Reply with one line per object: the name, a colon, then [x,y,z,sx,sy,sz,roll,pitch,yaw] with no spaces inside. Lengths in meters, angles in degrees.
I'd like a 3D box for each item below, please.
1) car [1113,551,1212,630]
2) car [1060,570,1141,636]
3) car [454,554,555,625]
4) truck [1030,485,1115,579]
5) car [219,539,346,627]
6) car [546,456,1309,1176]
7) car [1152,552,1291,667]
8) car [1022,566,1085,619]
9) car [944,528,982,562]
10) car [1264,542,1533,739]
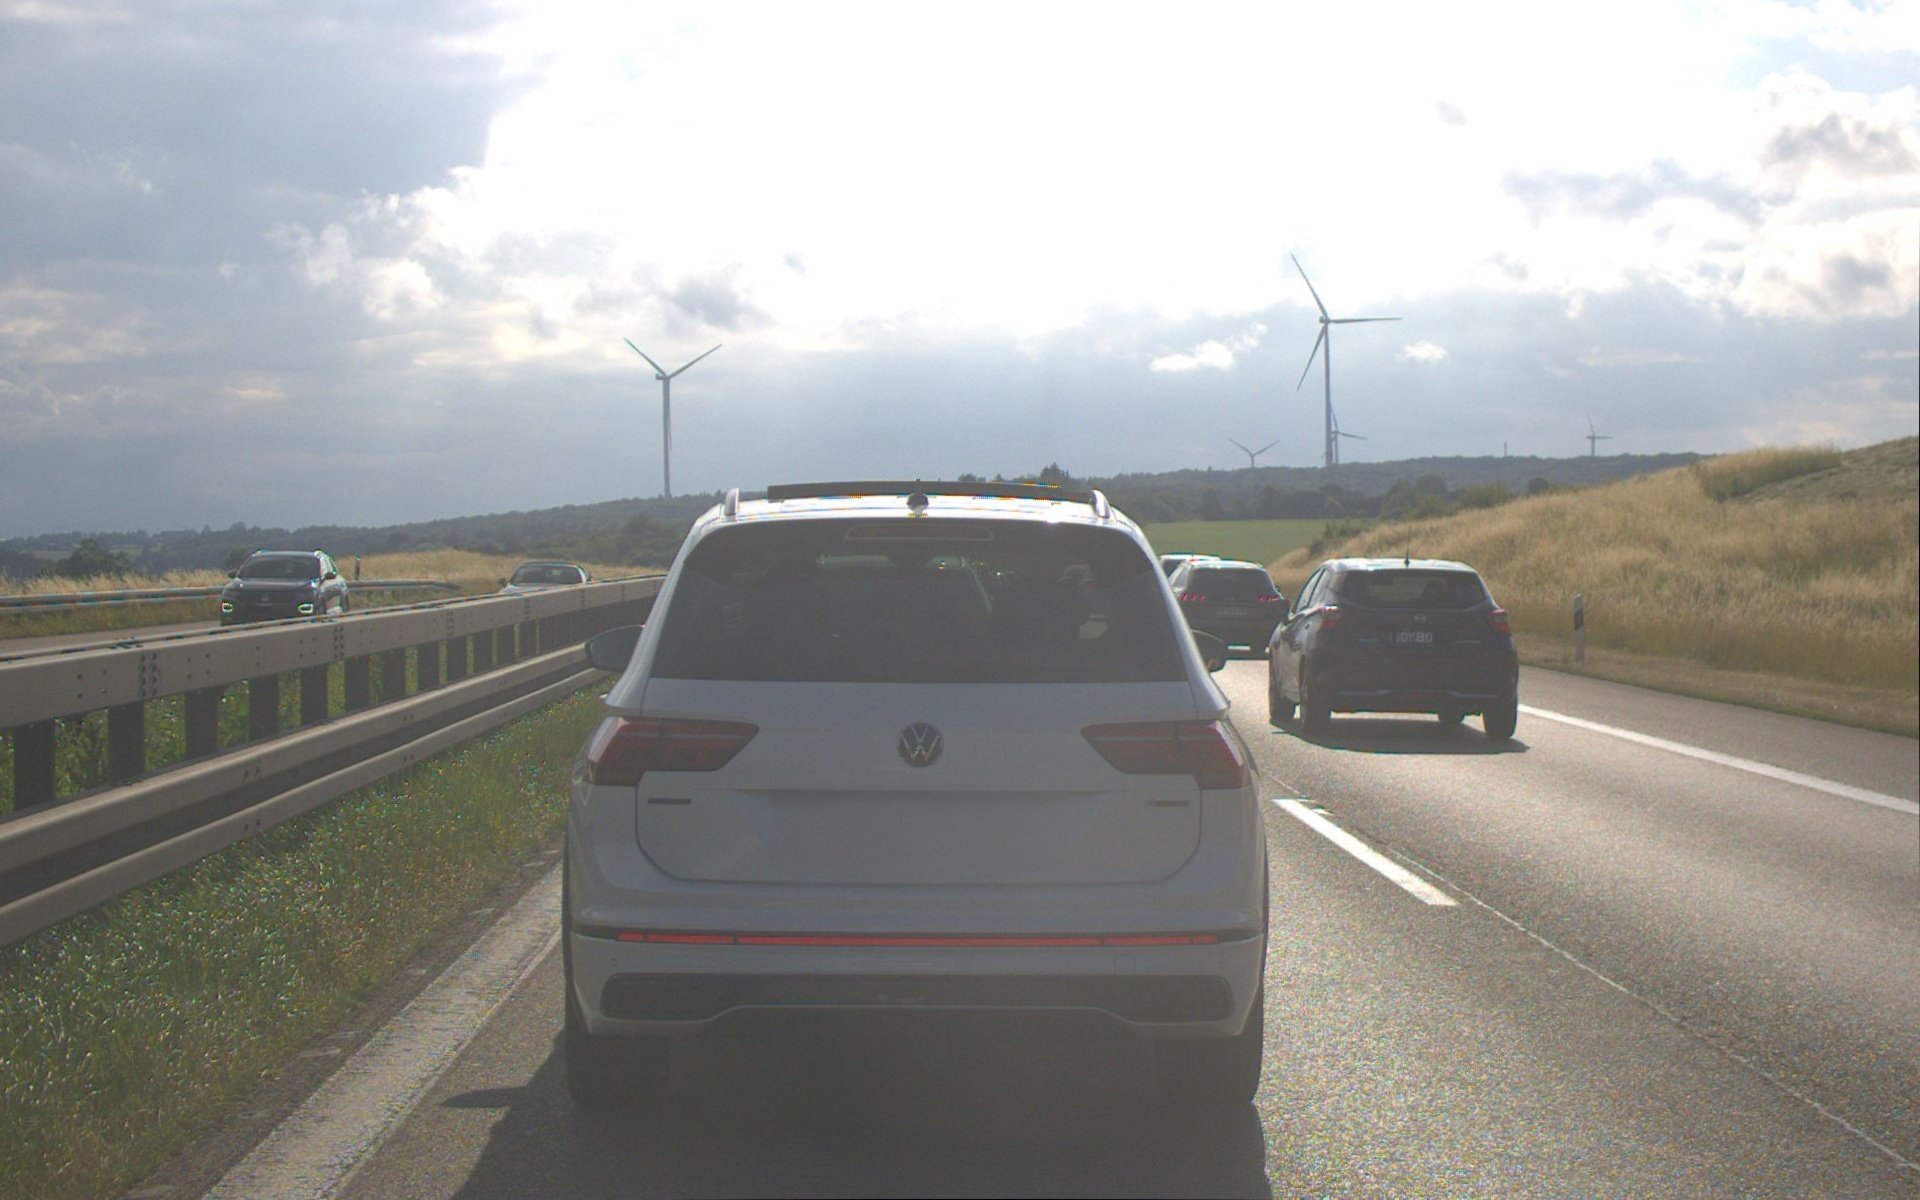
car: [4.093,-0.202,69.878,1.704,1.540,4.000,1,0,-1]
car: [3.356,0.053,82.587,1.704,1.540,4.000,1,0,-1]
car: [-9.210,-0.225,69.702,1.615,1.387,4.000,1,0,-2]
truck: [4.408,-2.714,137.043,3.184,3.581,11.130,1,1,1]
car: [-12.288,-0.318,62.528,1.615,1.516,4.000,1,0,-2]
car: [-0.105,0.492,10.074,1.770,1.670,4.000,1,0,-1]
car: [3.880,0.119,51.506,1.704,1.644,4.000,1,0,-1]
car: [2.800,-0.240,103.438,1.704,1.540,4.000,1,0,-1]
car: [0.130,-2.606,162.826,1.704,1.540,4.000,1,0,-1]
car: [3.656,0.305,29.254,1.704,1.540,4.000,1,0,-1]
